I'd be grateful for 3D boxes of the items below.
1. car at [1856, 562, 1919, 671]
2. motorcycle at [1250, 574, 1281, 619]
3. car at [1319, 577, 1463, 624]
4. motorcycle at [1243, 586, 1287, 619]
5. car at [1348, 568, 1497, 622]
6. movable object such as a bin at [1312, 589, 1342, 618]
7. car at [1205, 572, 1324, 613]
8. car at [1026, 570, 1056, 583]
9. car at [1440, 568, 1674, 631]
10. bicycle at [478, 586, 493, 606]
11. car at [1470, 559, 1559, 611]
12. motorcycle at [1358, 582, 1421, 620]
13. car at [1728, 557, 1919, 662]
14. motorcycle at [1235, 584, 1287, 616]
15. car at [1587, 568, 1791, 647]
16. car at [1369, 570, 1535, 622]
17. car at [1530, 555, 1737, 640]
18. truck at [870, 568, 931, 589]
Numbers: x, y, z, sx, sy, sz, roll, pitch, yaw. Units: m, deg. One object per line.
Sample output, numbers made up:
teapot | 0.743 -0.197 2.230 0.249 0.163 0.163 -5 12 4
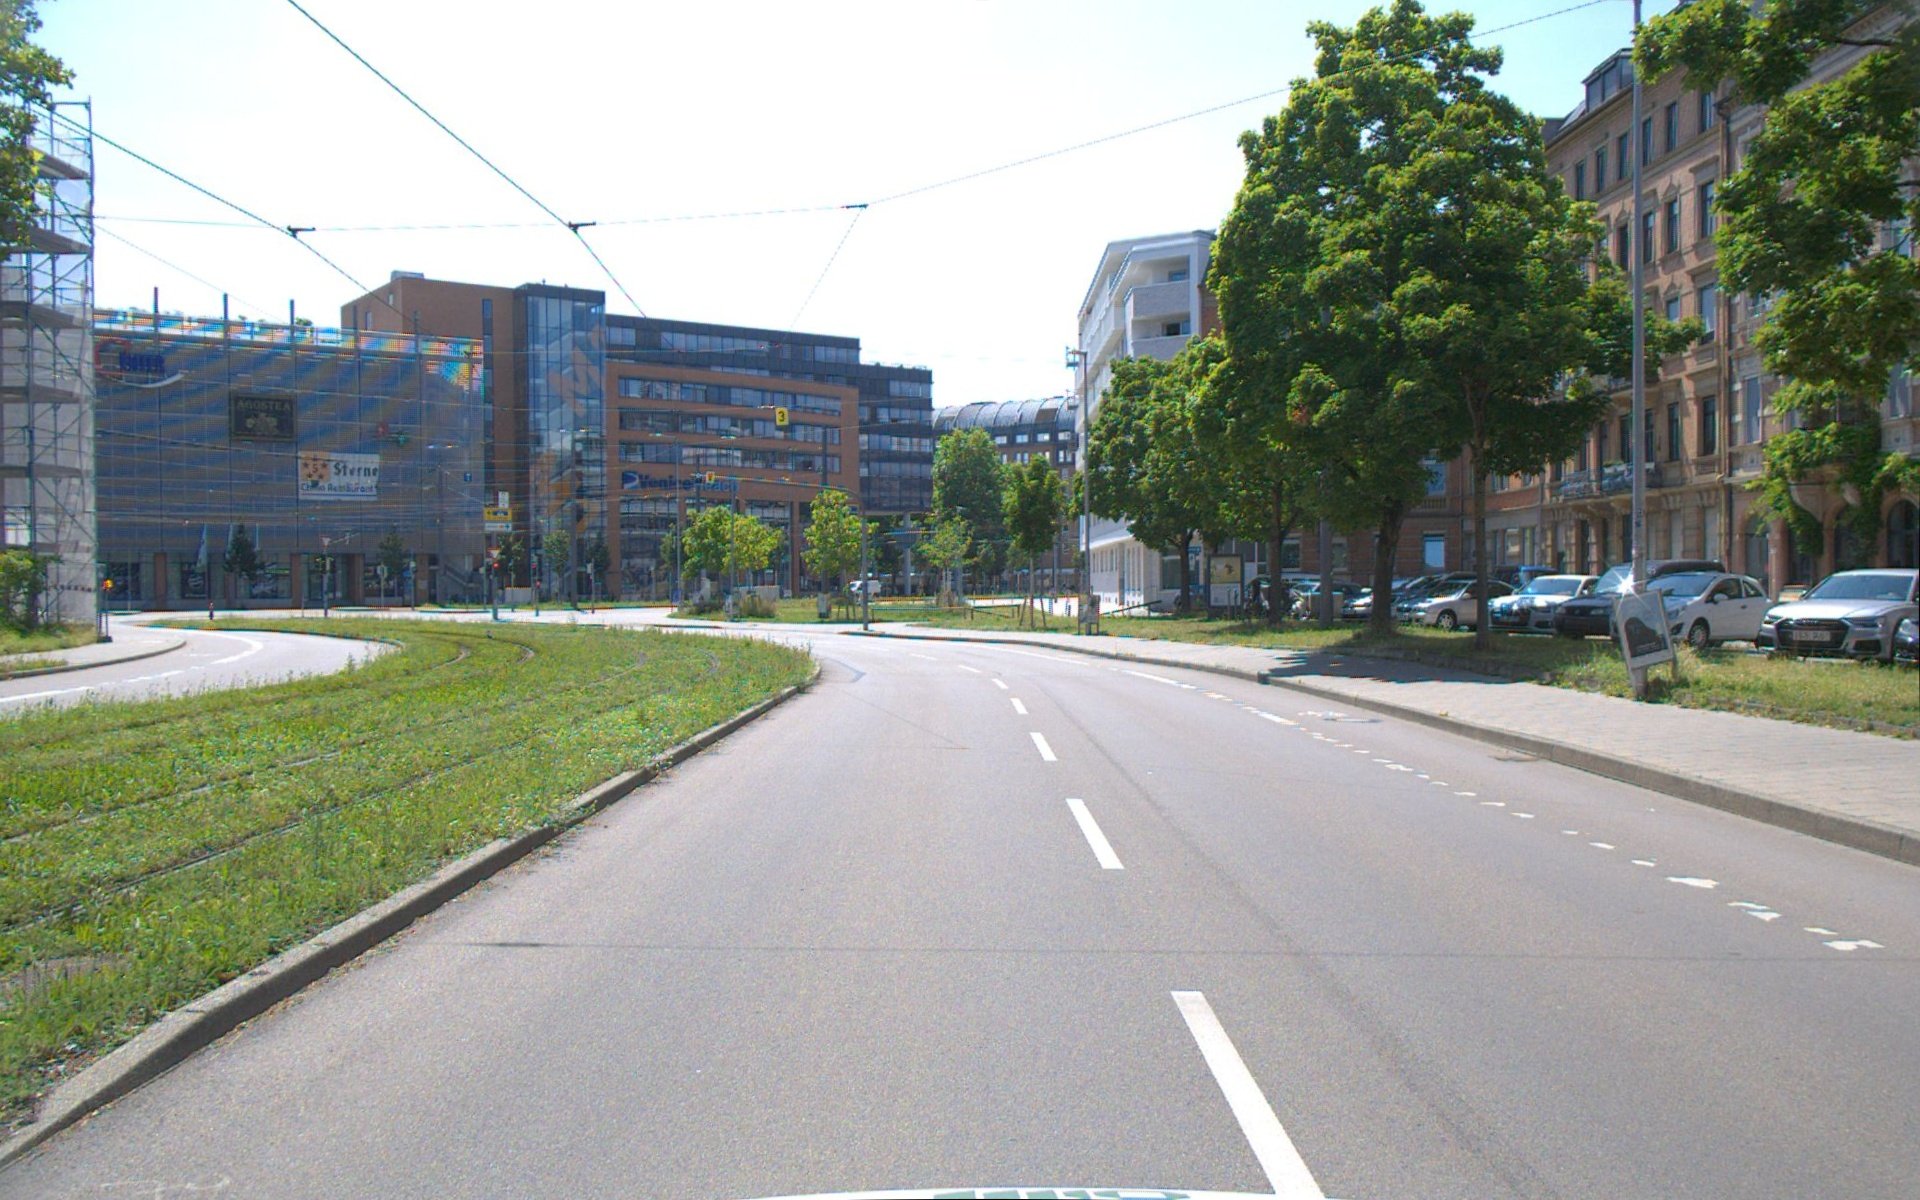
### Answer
car | 13.860 0.205 21.602 4.376 1.362 1.950 0 1 -33
motorcycle | 10.112 -0.115 54.779 0.661 1.438 1.857 -2 1 1
car | 13.051 0.003 50.031 4.281 1.400 1.569 0 1 -27
motorcycle | 10.727 0.086 58.184 1.489 1.140 0.478 0 0 -1
car | 13.297 -0.163 47.541 4.032 1.495 1.782 0 1 -28
movable object such as a bin | 12.403 0.123 55.952 0.965 0.953 0.702 0 0 11
car | 12.592 -0.326 68.359 4.802 1.628 1.820 0 1 -28
car | 11.844 -3.439 241.343 3.913 1.758 1.863 1 1 31
car | 13.283 -0.018 36.819 4.706 1.336 2.135 0 1 -22
bicycle | -42.996 -0.377 149.784 0.594 1.761 2.231 0 1 -36
car | 21.481 -0.576 64.254 1.880 1.937 4.654 0 1 0
motorcycle | 14.453 0.027 55.678 2.034 1.257 0.813 0 0 15
car | 13.772 0.119 25.068 4.643 1.452 1.946 0 1 -37
motorcycle | 10.797 -0.009 59.353 1.787 1.140 0.527 0 0 -7
car | 13.924 0.114 31.539 3.950 1.424 1.693 0 1 -33
car | 13.210 -0.107 44.438 3.932 1.336 1.959 0 1 -22
car | 14.148 -0.067 34.756 3.939 1.691 1.956 0 1 -27
truck | -8.419 -3.082 233.717 9.043 2.858 1.995 1 1 32
